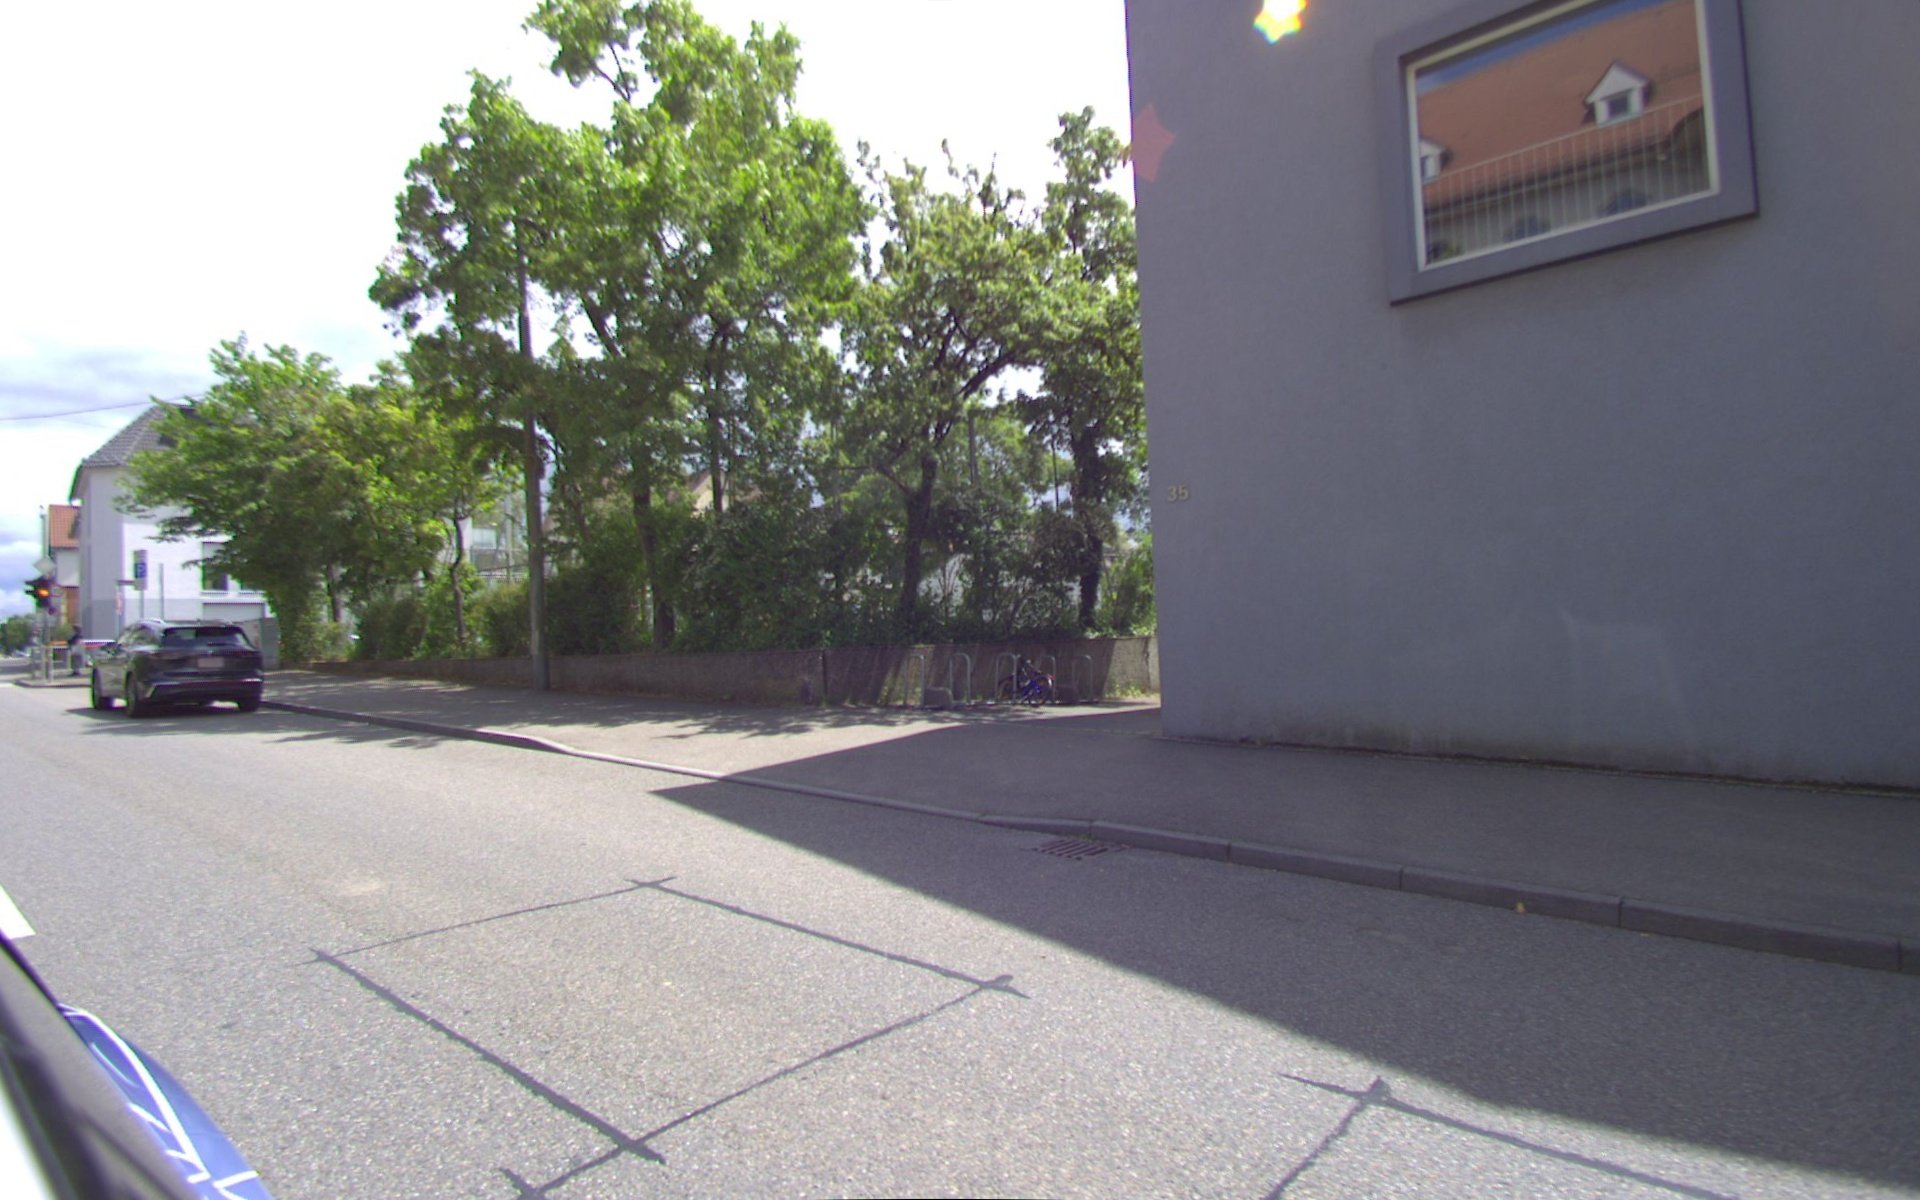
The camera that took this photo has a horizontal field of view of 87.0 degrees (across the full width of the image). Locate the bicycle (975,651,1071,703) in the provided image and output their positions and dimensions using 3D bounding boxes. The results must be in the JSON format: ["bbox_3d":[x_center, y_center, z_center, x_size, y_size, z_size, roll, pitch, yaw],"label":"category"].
[{"bbox_3d":[0.954,1.177,15.603,1.443,0.756,0.580,-3,-5,44],"label":"bicycle"}]

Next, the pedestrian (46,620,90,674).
[{"bbox_3d":[-27.581,1.433,31.295,0.663,1.609,0.771,-2,-1,5],"label":"pedestrian"}]

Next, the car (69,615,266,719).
[{"bbox_3d":[-14.253,1.158,18.102,4.640,1.622,1.778,-3,-2,39],"label":"car"}]

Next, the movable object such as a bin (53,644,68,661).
[{"bbox_3d":[-58.624,3.414,65.966,0.660,1.083,0.633,-3,-2,43],"label":"movable object such as a bin"}]
